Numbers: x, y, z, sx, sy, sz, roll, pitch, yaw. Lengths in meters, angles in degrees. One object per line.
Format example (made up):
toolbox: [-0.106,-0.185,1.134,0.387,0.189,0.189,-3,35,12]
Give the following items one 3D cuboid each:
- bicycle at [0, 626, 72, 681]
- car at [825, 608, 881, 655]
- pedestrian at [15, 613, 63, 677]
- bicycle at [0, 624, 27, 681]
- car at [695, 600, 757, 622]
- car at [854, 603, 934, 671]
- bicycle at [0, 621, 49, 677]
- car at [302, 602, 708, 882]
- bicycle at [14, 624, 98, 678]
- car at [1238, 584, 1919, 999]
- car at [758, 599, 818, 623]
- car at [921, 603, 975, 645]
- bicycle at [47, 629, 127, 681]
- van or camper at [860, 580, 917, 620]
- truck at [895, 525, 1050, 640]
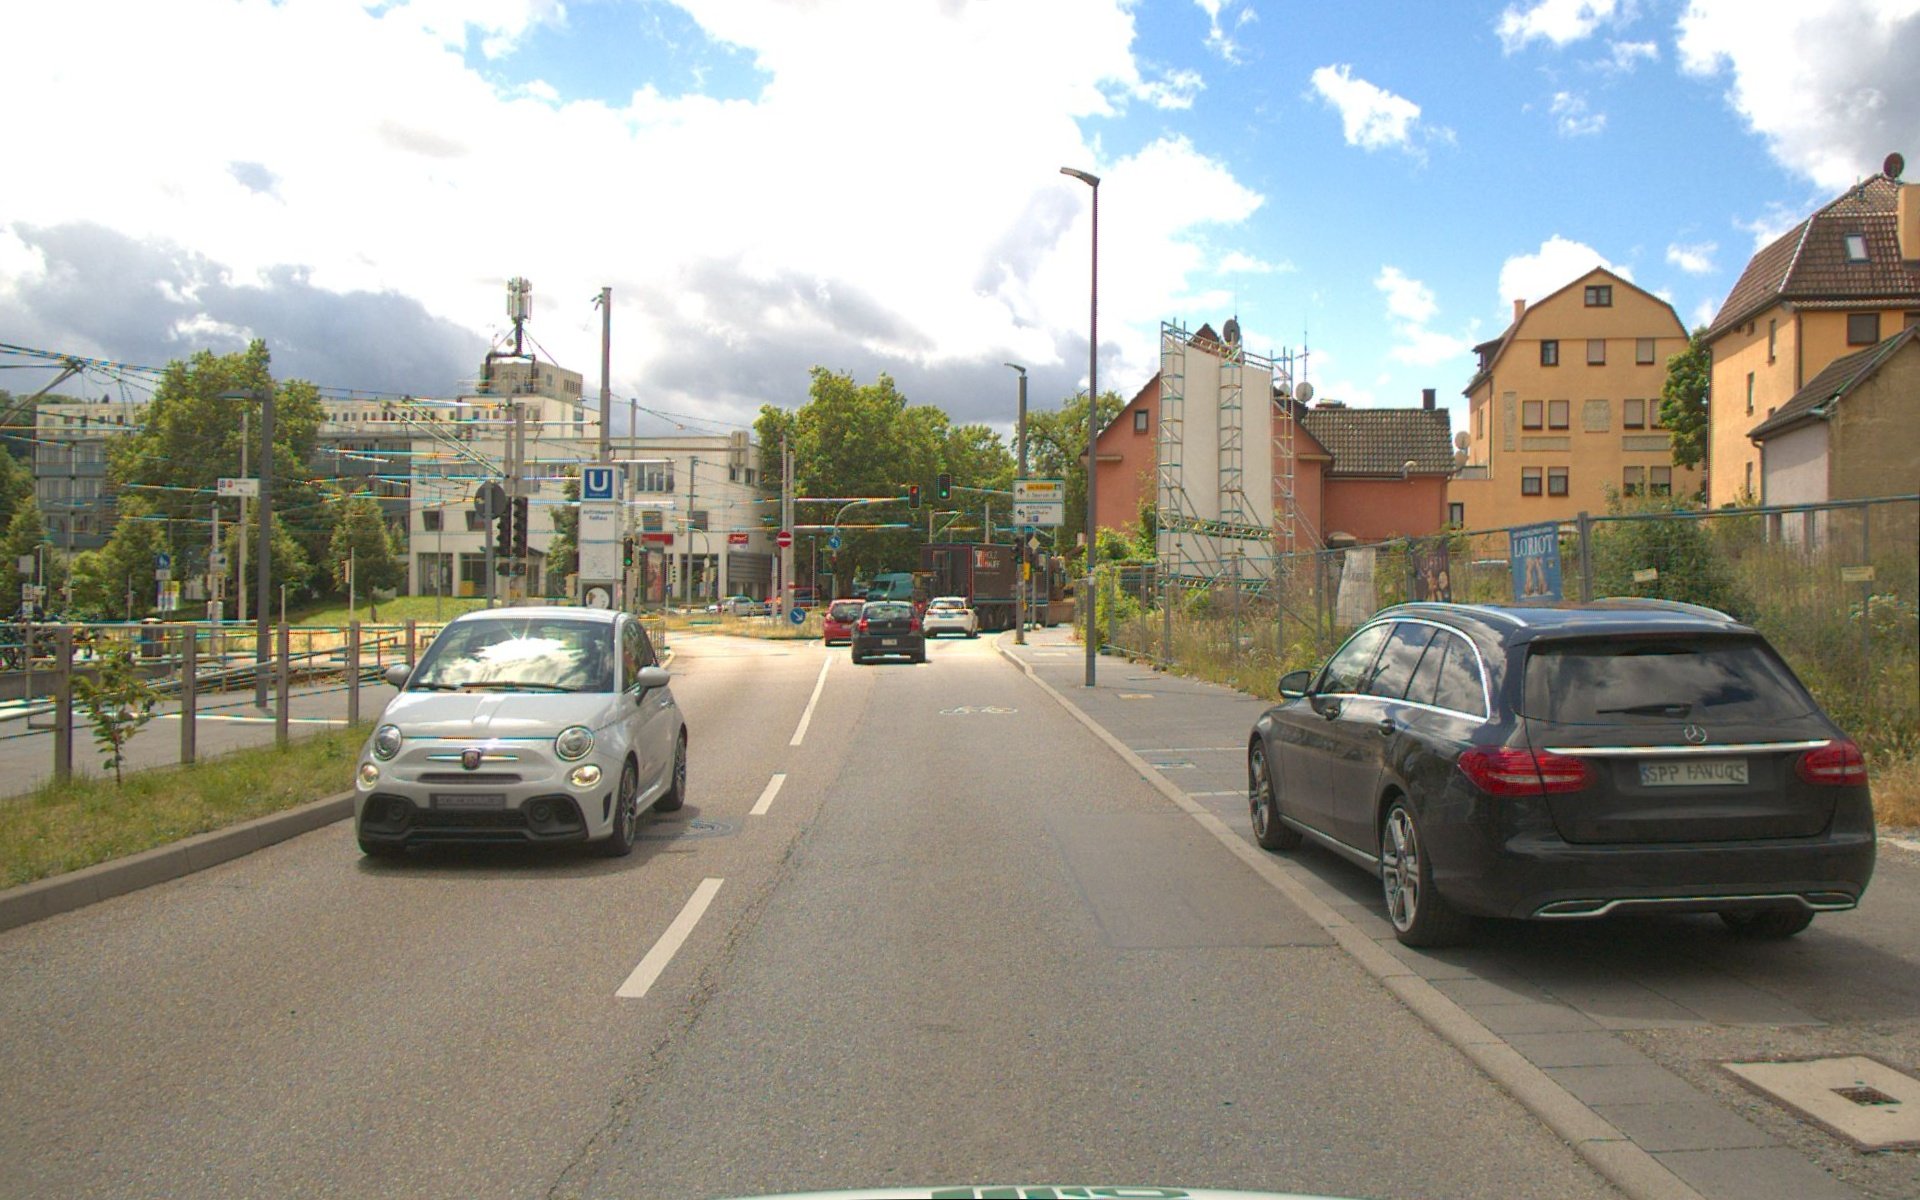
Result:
bicycle: [-19.766,1.137,35.163,1.477,1.120,0.492,-2,-2,-3]
car: [-3.440,0.987,53.612,1.677,1.418,3.807,0,0,-2]
pedestrian: [-23.544,1.150,42.299,0.838,1.599,0.856,2,-2,-17]
bicycle: [-19.622,1.080,33.228,1.477,1.120,0.408,-2,-2,-3]
car: [-16.068,0.788,113.621,1.962,1.490,3.981,0,-1,38]
car: [-1.605,0.833,39.104,1.693,1.482,3.804,0,0,-5]
bicycle: [-19.646,1.029,34.097,1.477,1.120,0.408,-2,-2,-3]
car: [-2.841,0.791,11.235,1.735,1.534,3.999,-1,0,-2]
bicycle: [-19.784,1.122,36.205,1.535,1.120,0.514,-2,-2,-3]
car: [2.746,0.703,8.341,1.746,1.477,4.474,-1,0,-2]
car: [-12.356,0.778,118.890,1.961,1.628,4.181,0,0,38]
car: [-0.400,0.906,61.513,1.849,1.491,4.070,-1,-1,2]
bicycle: [-19.933,1.254,37.777,1.535,1.120,0.514,-2,-2,-3]
van or camper: [-5.615,0.017,130.871,2.131,2.855,6.067,1,-2,22]
truck: [0.713,-0.634,72.546,3.140,4.615,9.019,0,-2,26]
